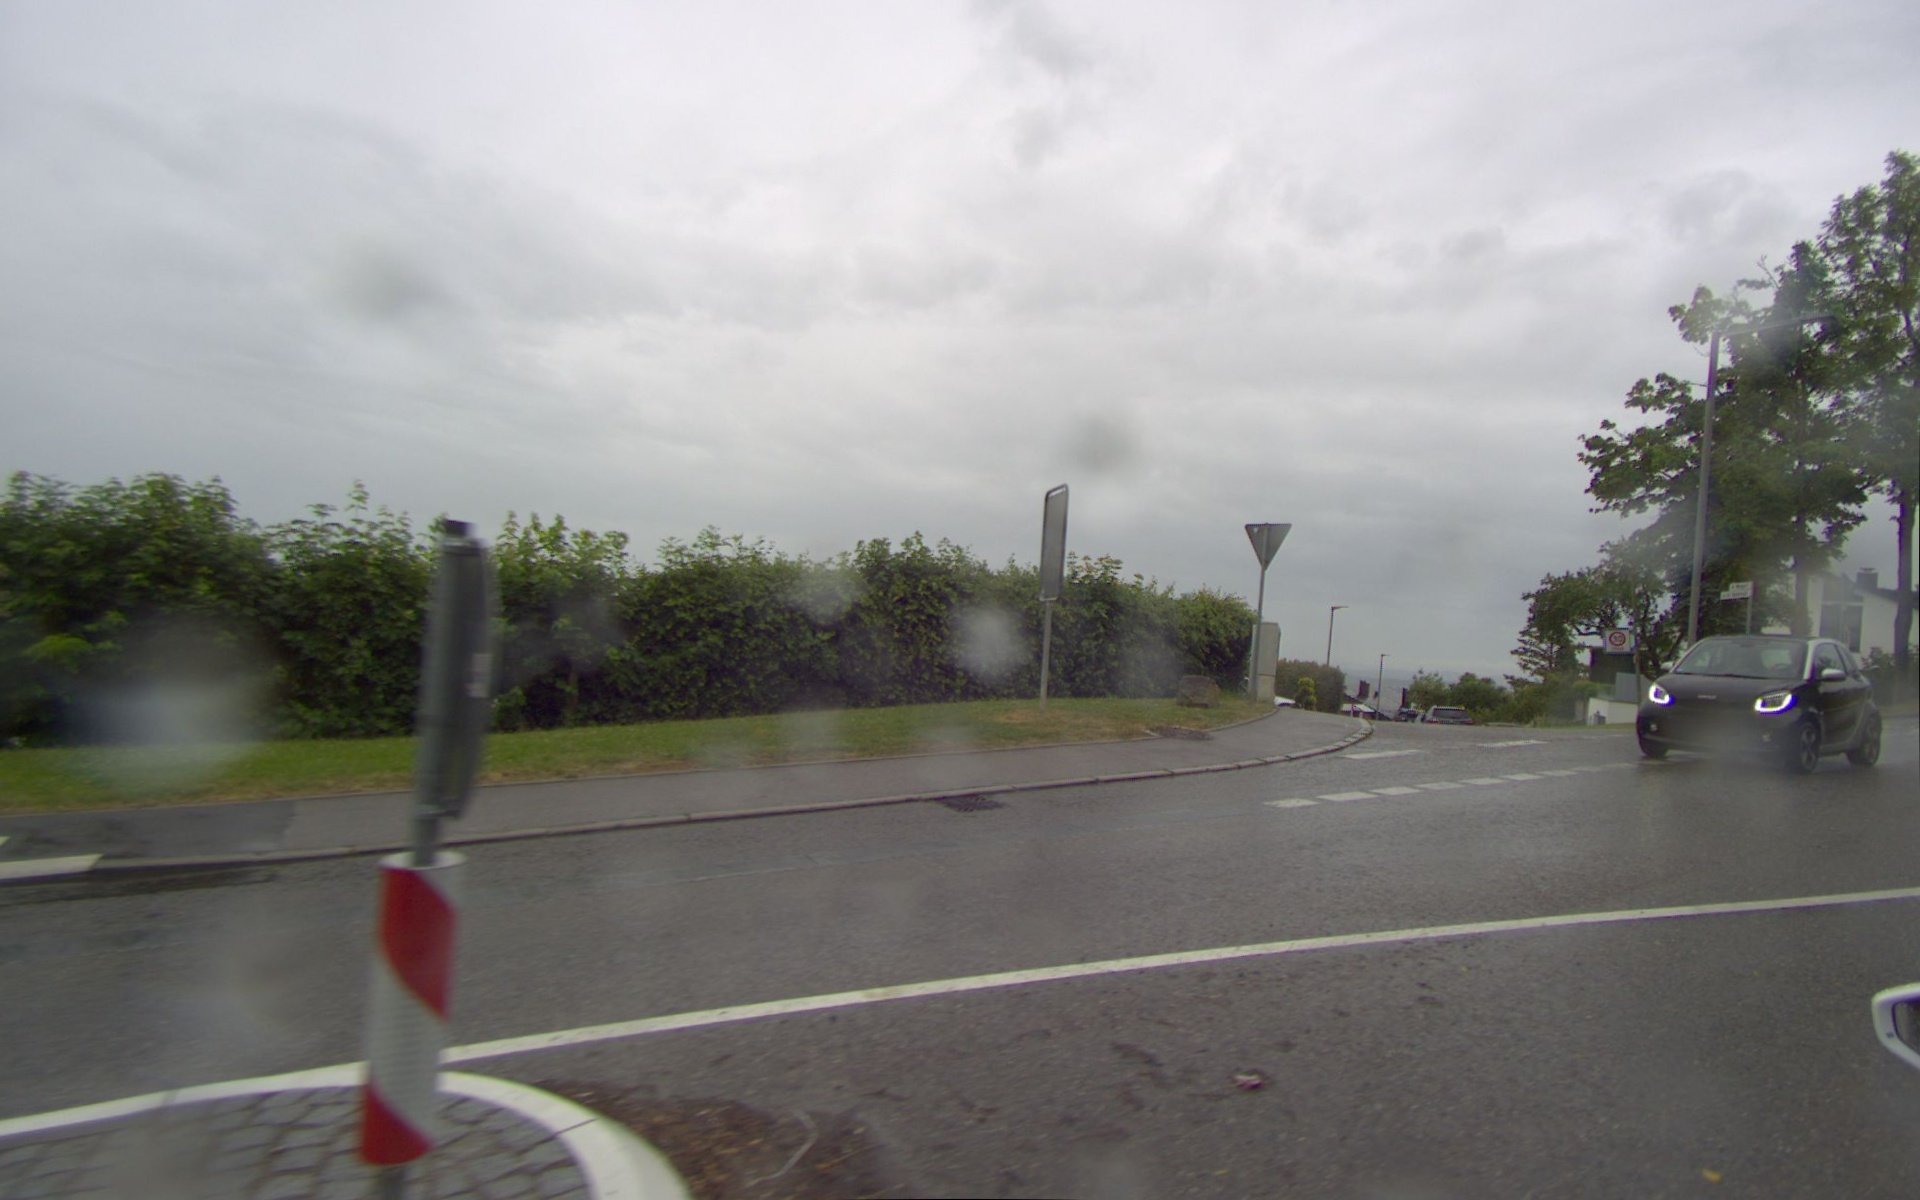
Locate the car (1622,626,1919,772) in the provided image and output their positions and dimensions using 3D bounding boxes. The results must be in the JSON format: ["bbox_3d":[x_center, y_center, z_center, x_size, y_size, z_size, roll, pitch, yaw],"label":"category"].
[{"bbox_3d":[10.507,1.184,12.798,4.579,1.540,1.821,3,-2,-34],"label":"car"}]

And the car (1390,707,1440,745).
[{"bbox_3d":[27.032,7.465,59.604,1.968,2.038,3.989,-1,-8,36],"label":"car"}]

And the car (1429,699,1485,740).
[{"bbox_3d":[19.740,4.778,40.022,1.849,1.434,4.001,0,-7,24],"label":"car"}]

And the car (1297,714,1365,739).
[{"bbox_3d":[25.582,8.730,69.272,1.790,1.658,3.953,3,-8,-42],"label":"car"}]

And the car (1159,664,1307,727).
[{"bbox_3d":[8.416,2.963,31.106,4.163,1.268,1.790,8,-5,16],"label":"car"}]
